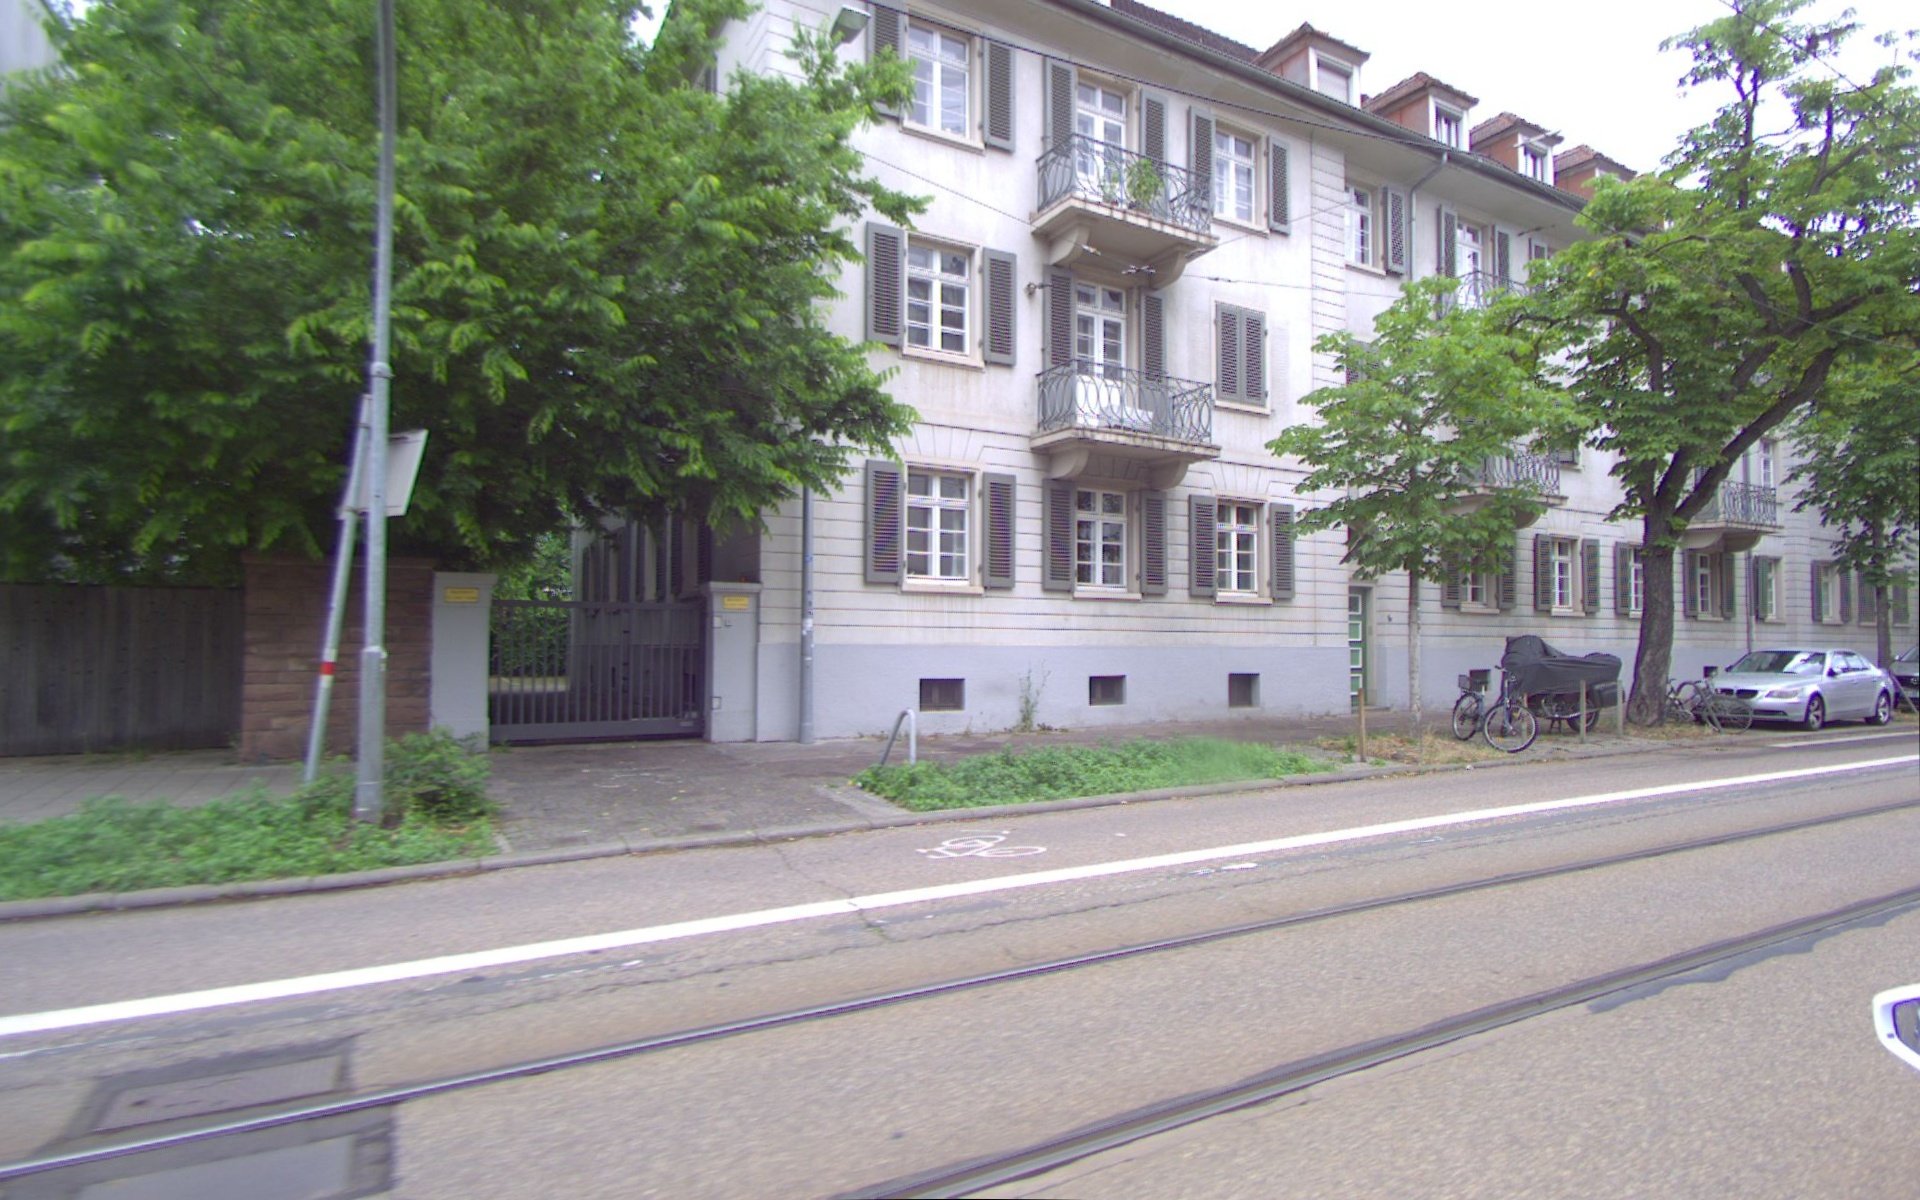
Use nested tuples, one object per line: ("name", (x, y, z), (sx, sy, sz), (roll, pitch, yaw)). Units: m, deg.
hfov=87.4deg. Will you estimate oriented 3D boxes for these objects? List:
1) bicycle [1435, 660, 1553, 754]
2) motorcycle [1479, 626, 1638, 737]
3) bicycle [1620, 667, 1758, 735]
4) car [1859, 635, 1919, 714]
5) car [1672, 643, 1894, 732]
("bicycle", (7.673, 1.504, 14.528), (0.509, 1.144, 1.744), (1, 1, -11))
("motorcycle", (9.482, 1.262, 15.905), (2.443, 1.664, 0.831), (1, -3, -22))
("bicycle", (12.624, 1.721, 17.454), (0.558, 1.041, 1.883), (2, -2, -33))
("car", (22.654, 1.688, 22.965), (4.240, 1.683, 1.830), (2, 0, -29))
("car", (15.631, 1.584, 19.034), (4.560, 1.485, 1.803), (2, -2, -30))
